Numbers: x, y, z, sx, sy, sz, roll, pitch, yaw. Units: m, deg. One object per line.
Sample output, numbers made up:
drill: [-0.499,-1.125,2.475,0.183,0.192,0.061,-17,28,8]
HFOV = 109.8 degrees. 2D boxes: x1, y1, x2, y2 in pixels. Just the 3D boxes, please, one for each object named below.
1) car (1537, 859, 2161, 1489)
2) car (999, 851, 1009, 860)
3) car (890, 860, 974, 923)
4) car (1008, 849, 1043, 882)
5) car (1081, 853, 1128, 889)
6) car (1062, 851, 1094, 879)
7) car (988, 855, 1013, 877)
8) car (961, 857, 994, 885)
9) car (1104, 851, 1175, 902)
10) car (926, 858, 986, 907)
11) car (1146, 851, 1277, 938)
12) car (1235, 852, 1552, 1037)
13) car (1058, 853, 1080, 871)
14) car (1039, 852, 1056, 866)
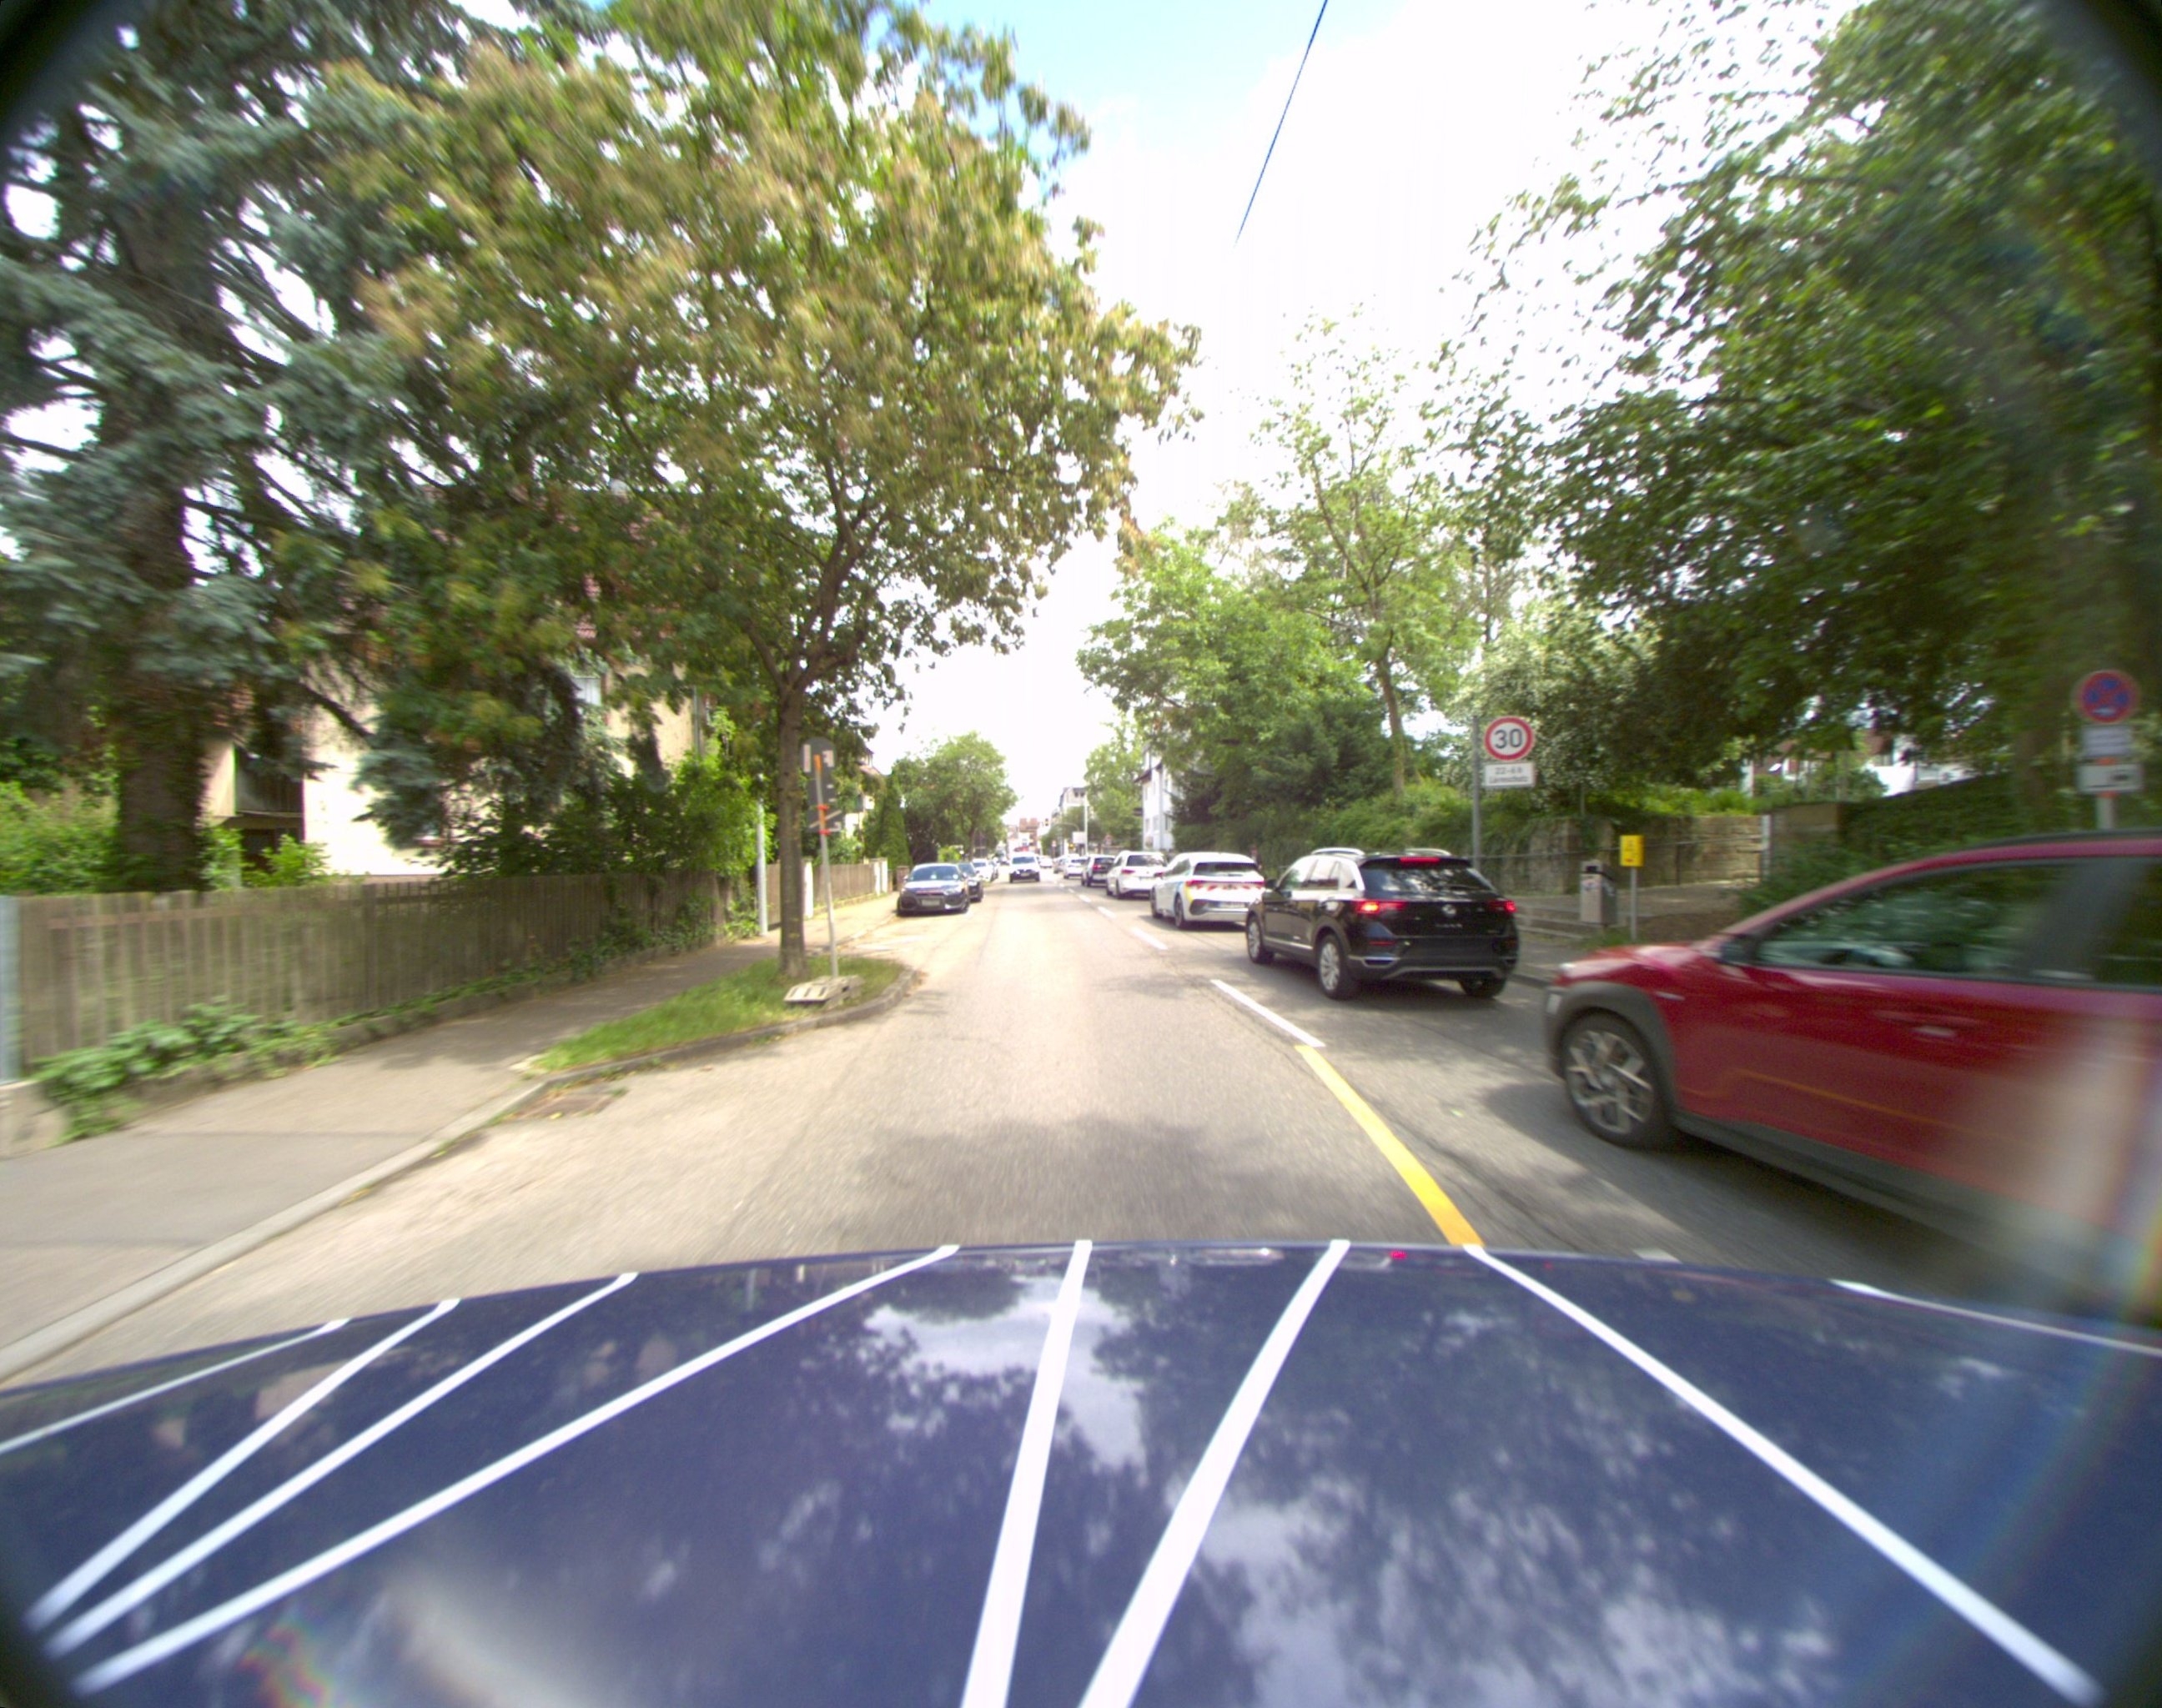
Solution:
car: [3.590,0.827,2.350,1.781,1.547,4.000,1,1,-3]
car: [-12.489,0.289,122.680,1.535,1.308,3.576,-3,1,-5]
car: [-4.220,1.002,22.074,1.939,1.483,4.020,-3,1,-5]
car: [-3.379,0.660,46.133,1.966,1.796,4.426,-3,1,-5]
car: [1.095,0.790,37.423,1.762,1.581,4.160,1,1,-5]
car: [-0.215,0.666,48.399,1.619,1.581,4.160,1,1,-5]
car: [-6.052,0.861,57.269,1.768,1.483,3.576,-3,1,-5]
car: [-6.232,1.004,46.150,1.768,1.483,3.576,-3,1,-5]
car: [1.970,0.737,26.758,1.762,1.581,4.160,1,1,-5]
car: [-4.367,0.955,26.993,1.768,1.483,3.858,-3,1,-5]
car: [2.642,0.770,16.383,1.762,1.581,4.001,1,1,-5]
car: [3.233,0.804,8.829,1.762,1.581,3.967,0,1,-5]
car: [-1.032,0.684,63.629,1.542,1.368,4.160,1,1,-5]
car: [-4.009,0.565,90.736,1.768,1.495,3.513,-3,1,-5]
